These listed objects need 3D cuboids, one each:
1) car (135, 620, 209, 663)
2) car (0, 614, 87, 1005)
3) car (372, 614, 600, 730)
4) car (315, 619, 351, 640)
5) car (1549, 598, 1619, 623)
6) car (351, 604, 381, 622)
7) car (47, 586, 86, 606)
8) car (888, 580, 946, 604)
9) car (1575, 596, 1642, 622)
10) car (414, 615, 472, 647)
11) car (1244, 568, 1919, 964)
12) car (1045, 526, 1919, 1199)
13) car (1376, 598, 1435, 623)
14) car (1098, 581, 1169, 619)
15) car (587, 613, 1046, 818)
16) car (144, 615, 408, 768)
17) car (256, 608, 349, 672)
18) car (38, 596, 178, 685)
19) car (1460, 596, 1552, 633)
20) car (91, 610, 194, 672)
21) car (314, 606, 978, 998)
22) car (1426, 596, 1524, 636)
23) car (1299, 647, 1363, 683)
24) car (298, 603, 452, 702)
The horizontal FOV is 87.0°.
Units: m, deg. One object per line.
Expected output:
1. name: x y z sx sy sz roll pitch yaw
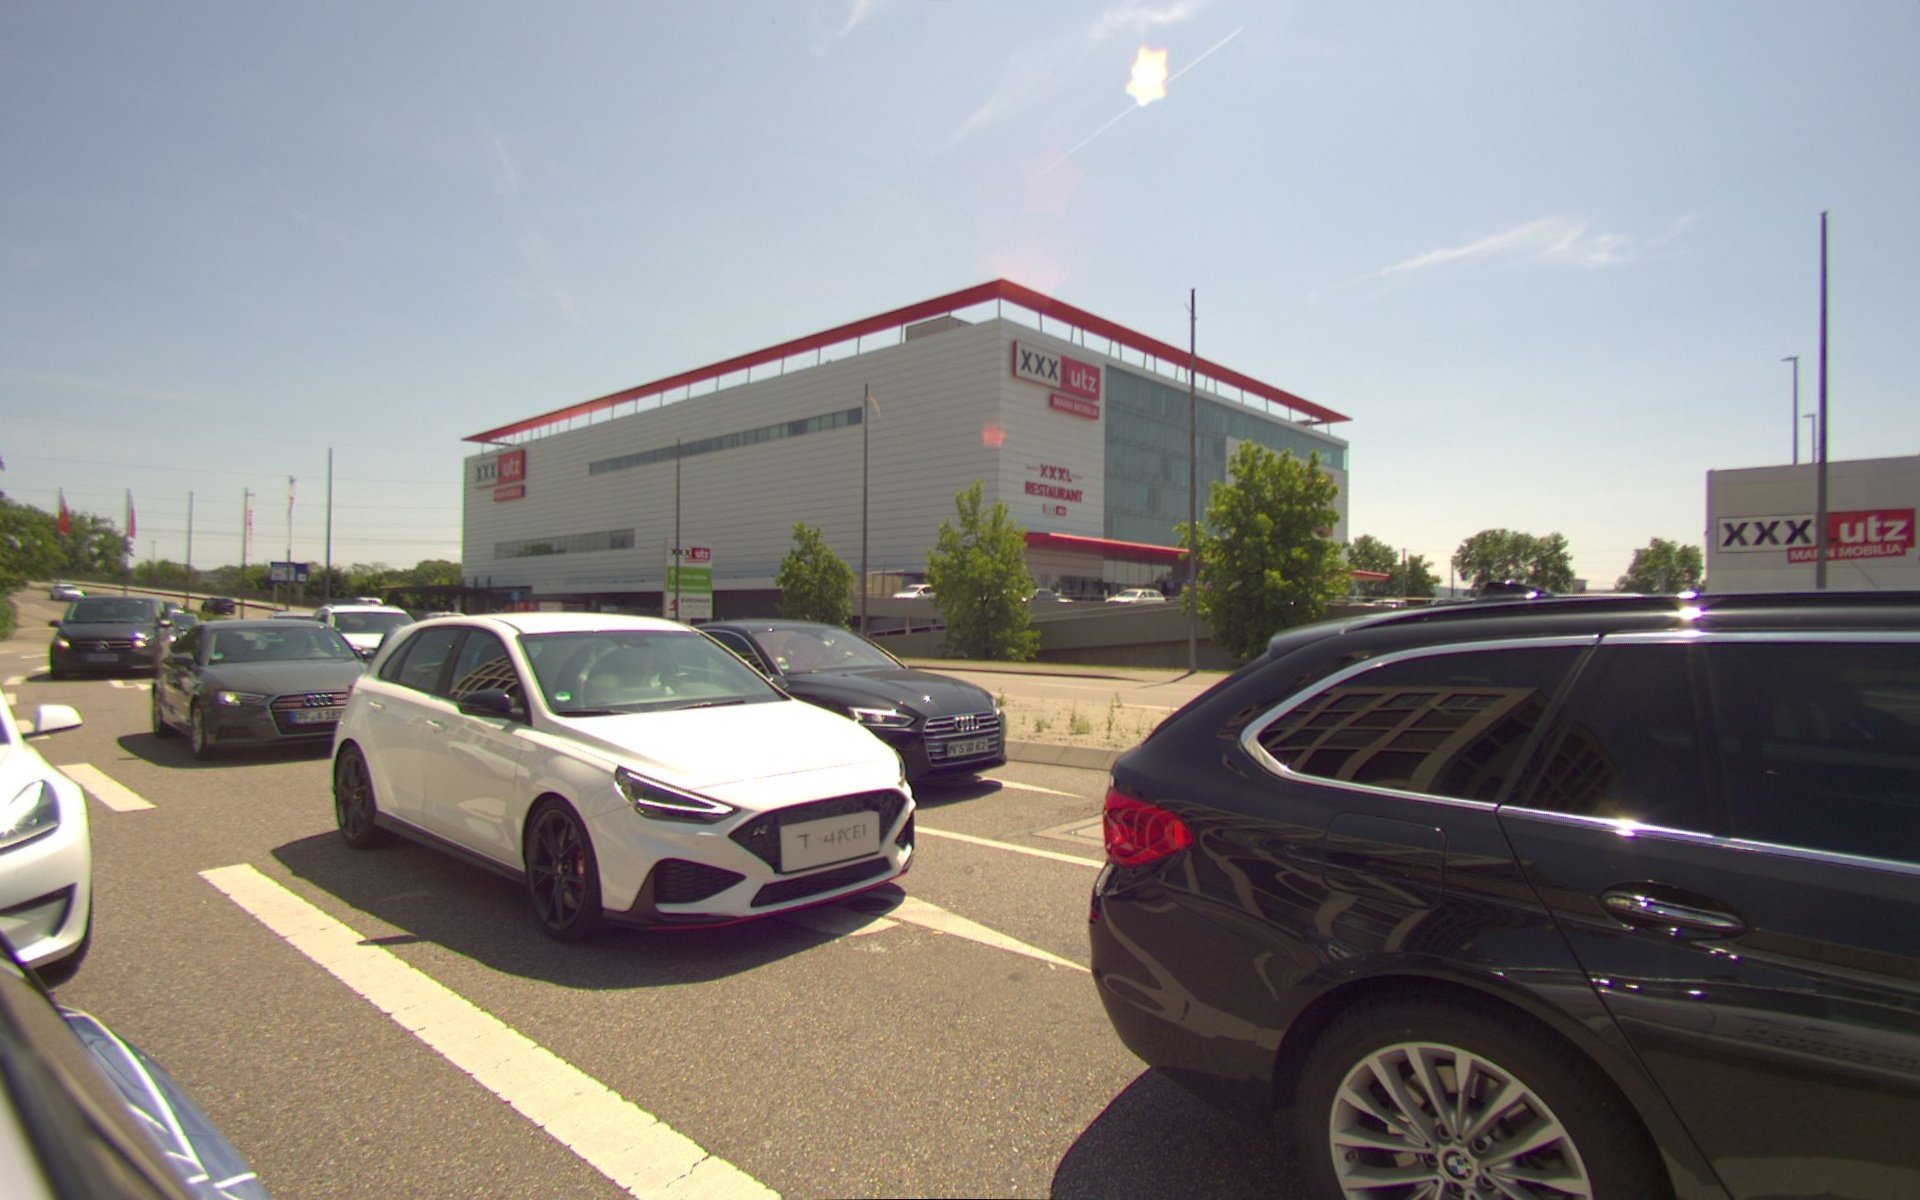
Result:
1. car: -28.094 1.460 36.182 1.582 1.451 3.744 1 -2 -30
2. car: -5.600 0.806 4.676 4.282 1.447 1.800 -1 0 41
3. car: -7.082 0.955 14.870 1.744 1.413 4.435 -1 -1 -43
4. car: -54.109 2.555 87.321 1.840 1.736 4.046 2 -3 -44
5. car: 45.396 0.746 73.701 4.134 1.754 1.759 0 -2 42
6. car: -79.459 1.730 135.335 4.815 2.300 2.162 -1 -2 44
7. car: -89.503 -0.425 101.336 3.988 1.918 1.978 -1 0 33
8. car: -2.908 -0.534 69.136 1.716 1.519 3.946 -1 -2 41
9. car: 52.558 0.723 82.043 4.328 2.029 1.972 0 -2 42
10. car: -28.927 1.732 56.557 1.839 1.736 4.047 2 -2 -42
11. car: 3.576 0.613 4.725 4.009 1.433 1.674 -2 -1 43
12. car: 2.513 0.619 1.743 4.553 1.451 1.779 -1 -1 40
13. car: 36.283 0.866 82.446 4.000 1.915 1.972 -1 -2 43
14. car: 9.888 0.039 57.383 4.407 2.029 1.680 2 -2 -44
15. car: -1.507 0.866 9.184 4.466 1.415 1.654 -2 -1 42
16. car: -7.806 0.881 11.396 1.745 1.393 4.092 0 -1 -45
17. car: -16.461 0.967 25.266 1.742 1.433 3.908 -1 -1 -36
18. car: -19.670 0.887 23.575 1.865 1.835 4.850 1 -1 -33
19. car: 30.910 0.836 57.342 4.323 2.029 1.975 0 -2 38
20. car: -23.398 1.144 29.116 1.784 1.652 4.011 1 -2 -32
21. car: -2.015 0.778 5.778 4.068 1.447 1.769 -1 -1 41
22. car: 27.061 0.857 53.261 4.323 2.029 1.974 0 -2 38
23. car: 19.045 3.288 51.889 1.997 1.719 3.949 -1 -2 38
24. car: -11.207 0.912 19.242 1.743 1.653 4.498 0 0 -40
